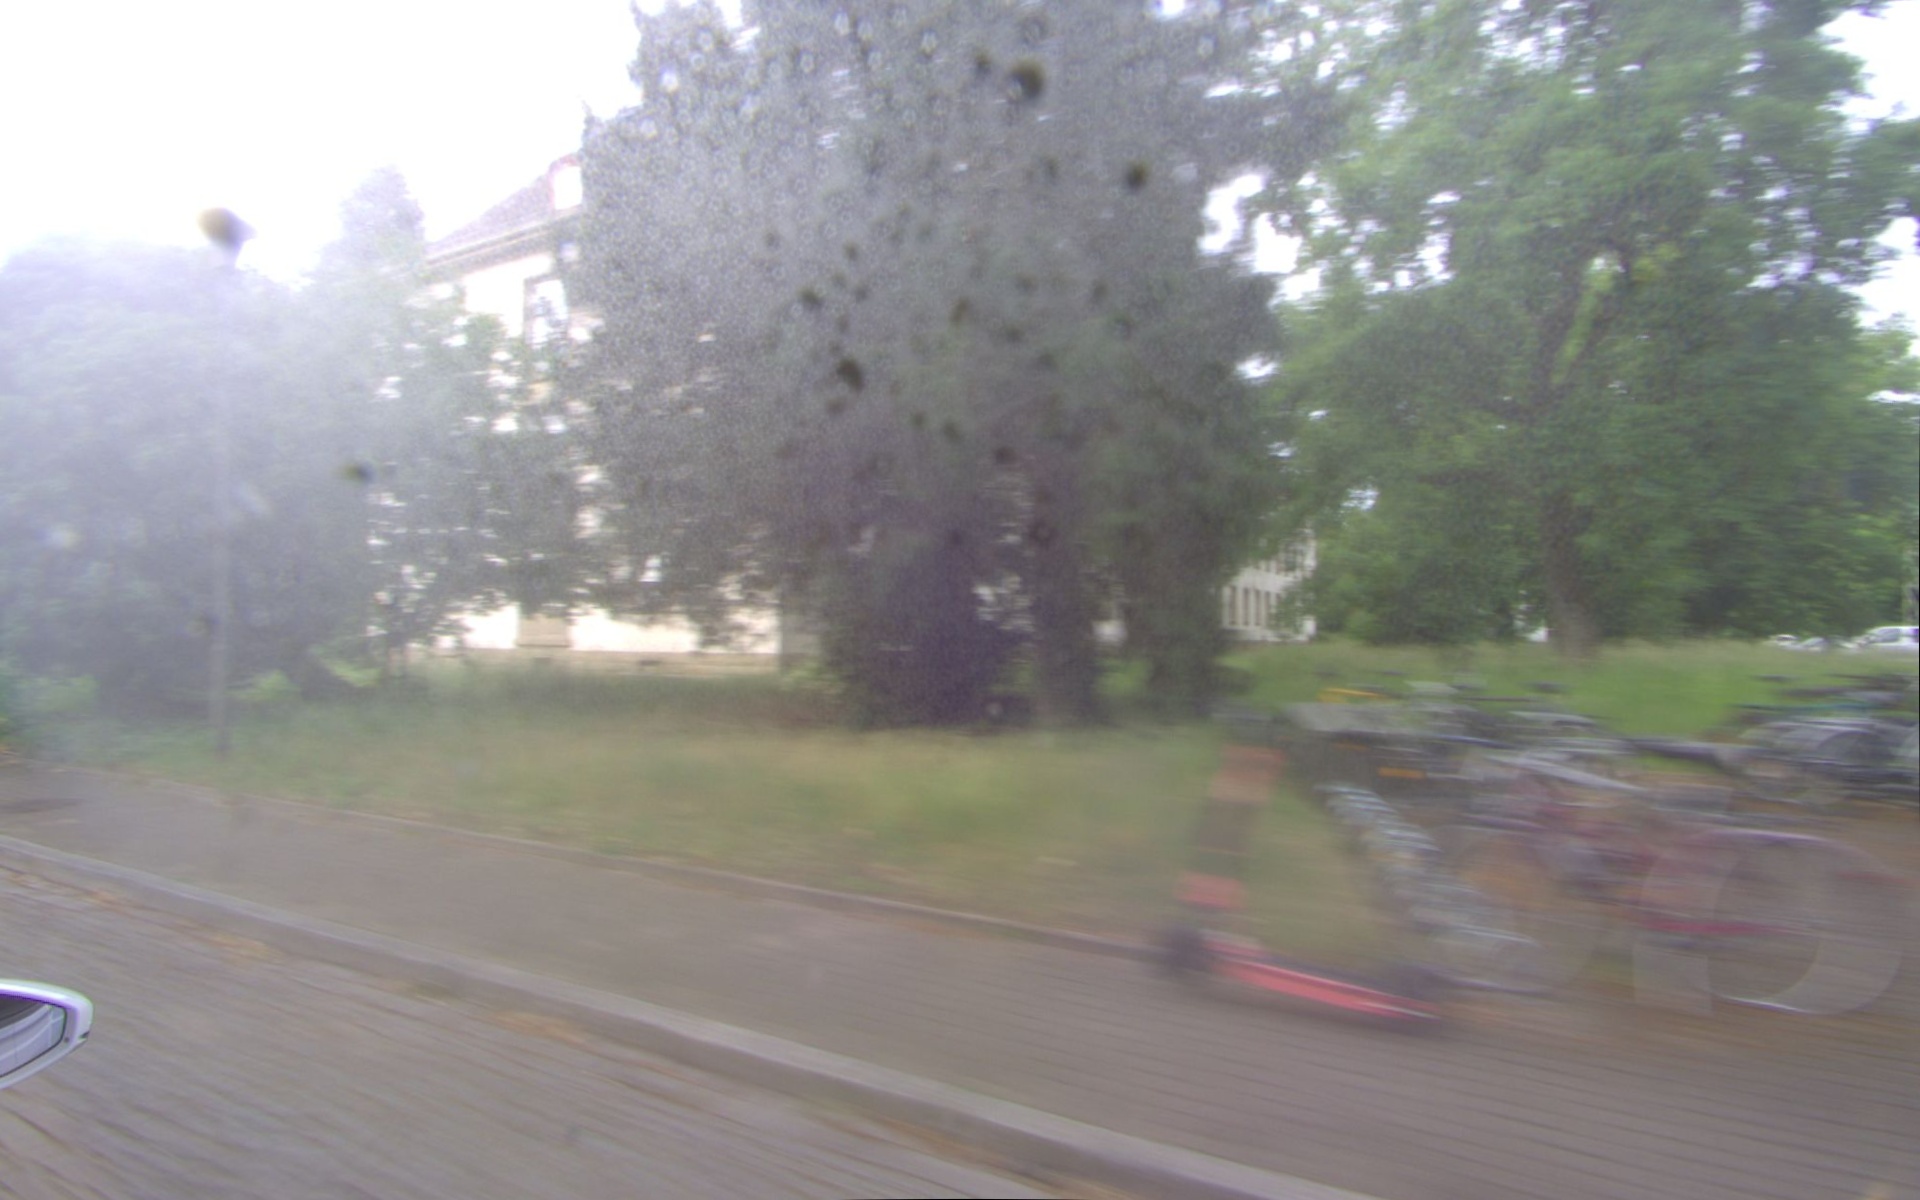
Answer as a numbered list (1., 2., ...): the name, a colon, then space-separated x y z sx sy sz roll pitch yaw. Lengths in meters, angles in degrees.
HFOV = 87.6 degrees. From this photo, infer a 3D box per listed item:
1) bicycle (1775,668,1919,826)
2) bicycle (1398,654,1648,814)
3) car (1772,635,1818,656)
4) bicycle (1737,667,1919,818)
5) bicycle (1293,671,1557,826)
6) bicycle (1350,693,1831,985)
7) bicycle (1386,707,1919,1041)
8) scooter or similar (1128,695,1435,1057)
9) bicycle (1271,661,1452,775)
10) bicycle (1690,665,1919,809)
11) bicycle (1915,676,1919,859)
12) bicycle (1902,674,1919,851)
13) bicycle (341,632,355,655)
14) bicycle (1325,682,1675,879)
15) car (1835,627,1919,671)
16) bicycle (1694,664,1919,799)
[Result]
1. bicycle: 7.249 1.095 7.496 1.732 1.126 0.477 0 -1 14
2. bicycle: 4.538 1.049 8.199 1.724 1.186 0.550 0 -1 22
3. car: 56.407 3.049 67.682 1.559 1.356 3.940 0 -2 27
4. bicycle: 7.241 1.116 7.956 1.623 1.126 0.441 0 -1 20
5. bicycle: 3.472 1.097 7.569 1.720 1.078 0.552 0 -1 4
6. bicycle: 2.771 1.024 4.575 1.771 1.129 0.551 0 -1 12
7. bicycle: 2.723 1.040 4.081 1.736 1.129 0.551 0 -1 12
8. scooter or similar: 1.263 1.016 3.966 1.119 1.225 0.356 0 -1 26
9. bicycle: 4.031 1.168 10.165 1.652 1.055 0.551 0 -1 16
10. bicycle: 7.255 1.135 8.515 1.623 1.126 0.441 0 -1 20
11. bicycle: 6.706 1.025 5.765 1.732 1.126 0.477 0 -1 14
12. bicycle: 7.004 1.046 6.207 1.731 1.126 0.478 0 -1 8
13. bicycle: -33.013 2.341 54.019 0.509 1.182 1.791 1 -2 -37
14. bicycle: 3.243 1.070 6.139 1.790 1.078 0.618 0 -1 4
15. car: 36.832 1.880 38.562 4.477 1.669 1.462 -1 -2 30
16. bicycle: 7.678 1.153 8.961 1.732 1.126 0.477 0 -1 14
